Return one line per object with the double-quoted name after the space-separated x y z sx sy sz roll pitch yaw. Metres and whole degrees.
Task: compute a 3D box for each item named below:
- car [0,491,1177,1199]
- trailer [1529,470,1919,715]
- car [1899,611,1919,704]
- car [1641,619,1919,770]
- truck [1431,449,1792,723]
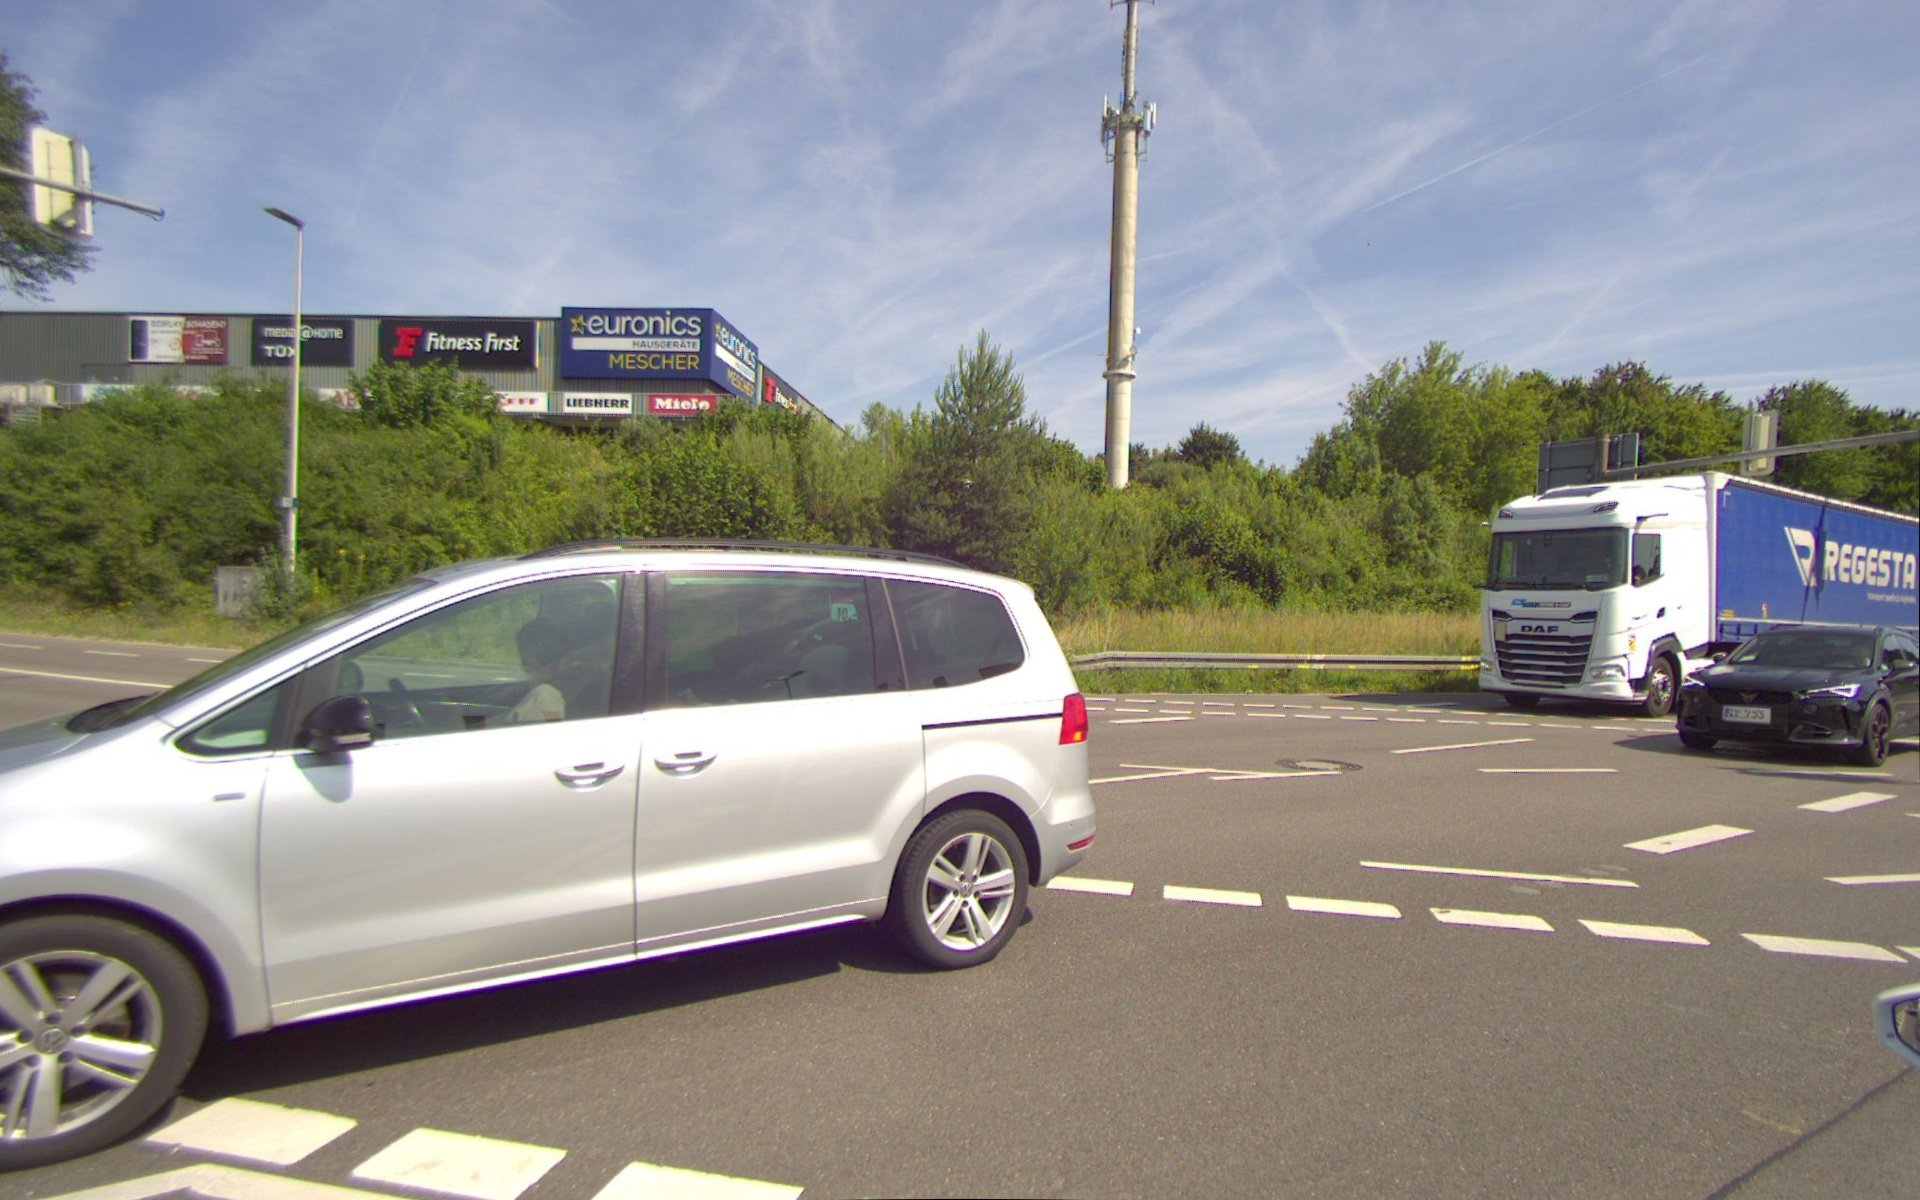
-1.421 0.599 4.158 4.538 1.756 1.832 1 2 -33 "car"
17.822 0.023 22.067 13.973 4.134 3.076 2 0 -33 "trailer"
20.193 1.133 19.397 3.954 1.749 1.984 1 0 -31 "car"
10.467 1.030 12.324 4.407 1.505 1.981 2 -1 -34 "car"
11.897 -0.148 18.240 6.277 4.134 3.170 1 0 -33 "truck"
